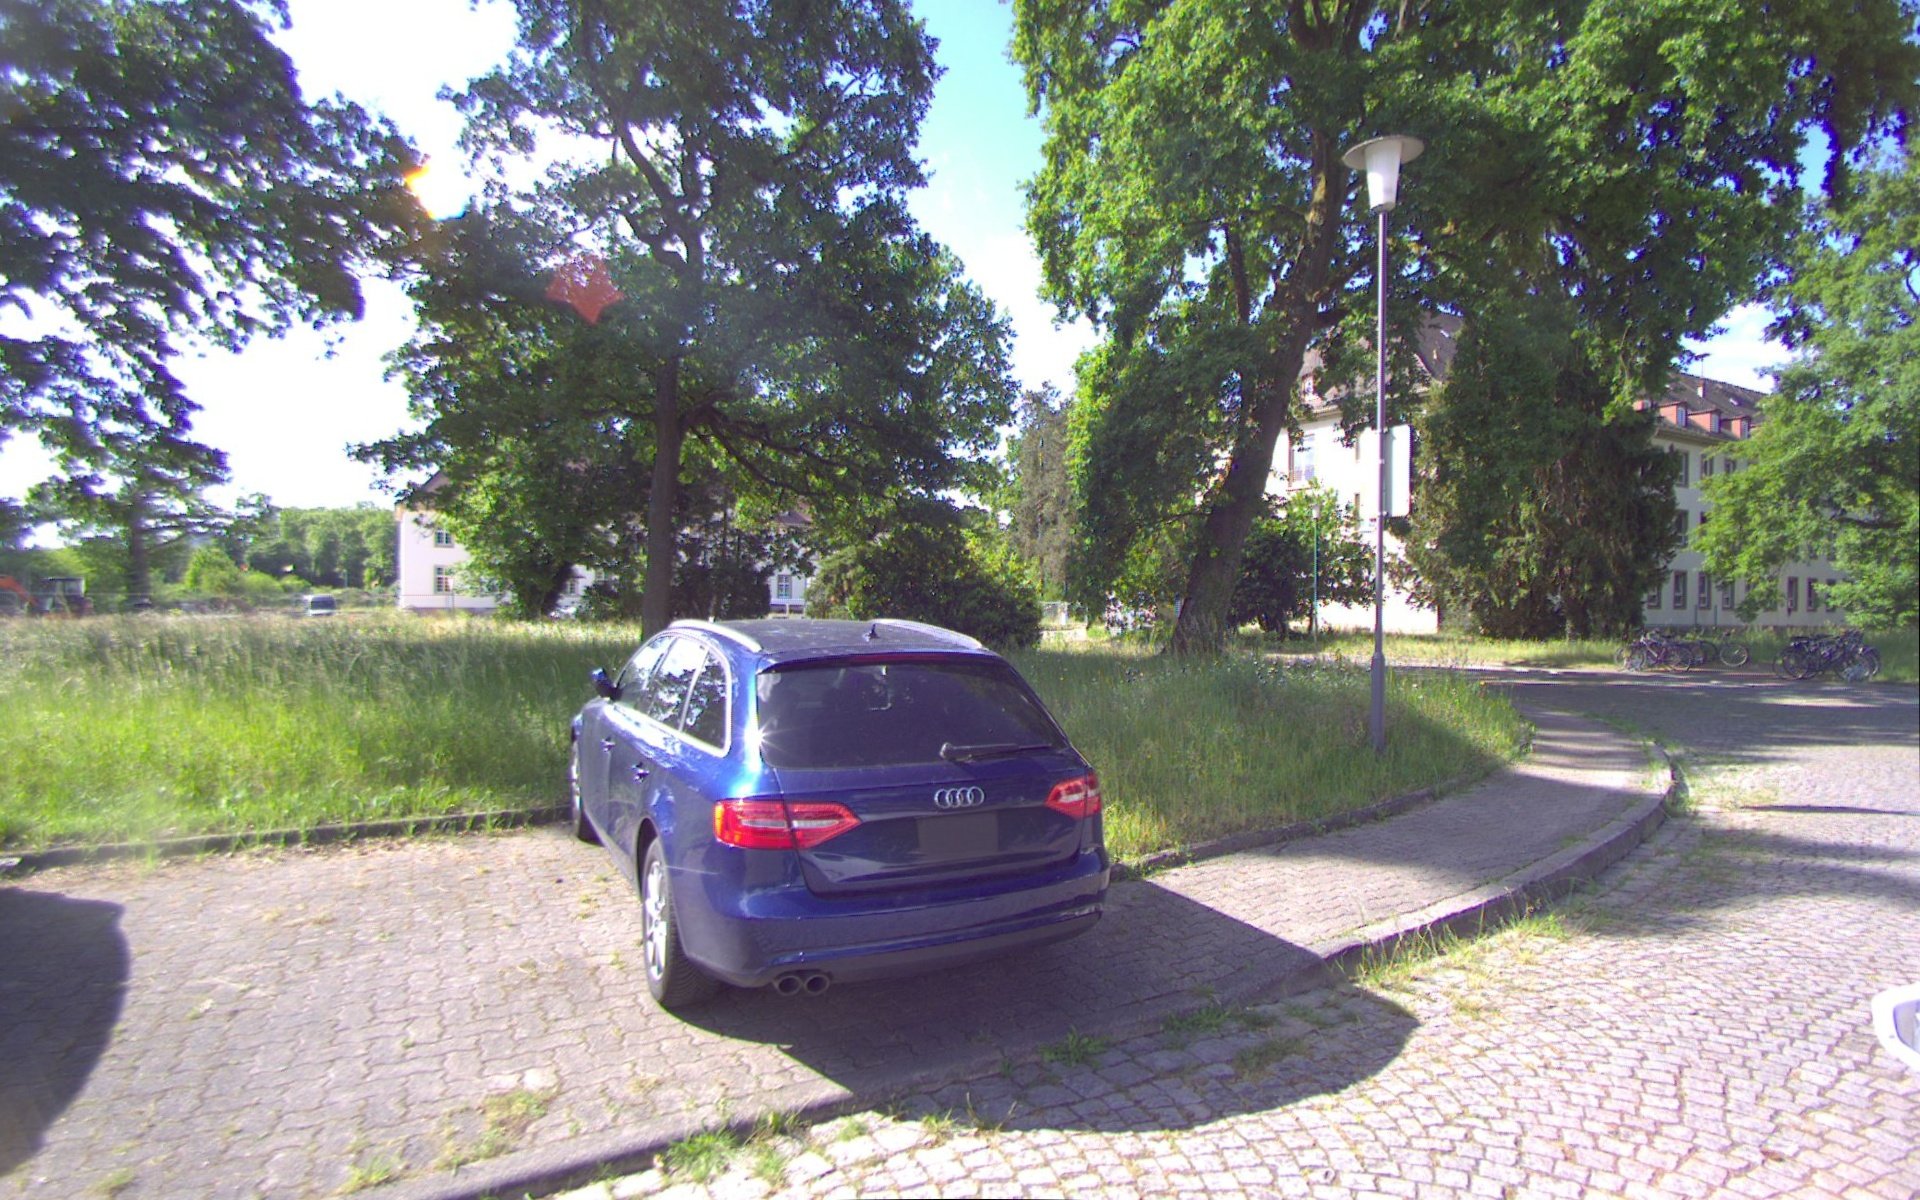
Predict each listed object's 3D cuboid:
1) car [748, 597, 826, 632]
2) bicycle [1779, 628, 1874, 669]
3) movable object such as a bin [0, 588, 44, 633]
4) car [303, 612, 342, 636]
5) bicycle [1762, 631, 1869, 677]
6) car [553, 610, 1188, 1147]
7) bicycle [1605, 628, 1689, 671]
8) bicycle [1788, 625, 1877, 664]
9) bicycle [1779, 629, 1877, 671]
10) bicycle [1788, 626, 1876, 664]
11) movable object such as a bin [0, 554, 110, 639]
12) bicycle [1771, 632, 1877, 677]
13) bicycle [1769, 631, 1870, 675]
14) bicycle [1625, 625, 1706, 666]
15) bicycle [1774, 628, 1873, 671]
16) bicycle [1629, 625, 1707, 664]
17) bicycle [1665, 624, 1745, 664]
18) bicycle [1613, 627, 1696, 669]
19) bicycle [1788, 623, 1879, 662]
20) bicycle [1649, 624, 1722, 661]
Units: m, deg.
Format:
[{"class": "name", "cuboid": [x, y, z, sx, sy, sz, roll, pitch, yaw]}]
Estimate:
[{"class": "car", "cuboid": [-12.353, 1.047, 71.847, 5.213, 2.469, 1.975, 1, -1, -29]}, {"class": "bicycle", "cuboid": [23.319, 1.303, 27.083, 1.891, 1.072, 0.474, -2, -2, 40]}, {"class": "movable object such as a bin", "cuboid": [-48.606, 0.517, 49.570, 5.565, 2.154, 2.529, 0, -1, 16]}, {"class": "car", "cuboid": [-50.447, 1.883, 79.514, 1.980, 1.879, 4.087, 1, -1, -42]}, {"class": "bicycle", "cuboid": [20.639, 1.314, 24.284, 1.886, 1.072, 0.475, -2, -2, 32]}, {"class": "car", "cuboid": [-0.953, 0.827, 5.273, 1.895, 1.464, 4.344, 0, 1, -26]}, {"class": "bicycle", "cuboid": [18.974, 1.342, 27.755, 1.888, 1.117, 0.568, -1, 1, 37]}, {"class": "bicycle", "cuboid": [24.905, 1.275, 28.710, 1.891, 1.072, 0.474, -2, -2, 40]}, {"class": "bicycle", "cuboid": [22.754, 1.319, 26.382, 1.889, 1.072, 0.474, -2, -2, 38]}, {"class": "bicycle", "cuboid": [25.201, 1.304, 29.070, 1.891, 1.072, 0.474, -2, -2, 40]}, {"class": "movable object such as a bin", "cuboid": [-44.017, -0.152, 46.253, 3.867, 3.780, 6.767, 0, -1, 36]}, {"class": "bicycle", "cuboid": [21.106, 1.328, 24.573, 1.886, 1.072, 0.475, -2, -2, 32]}, {"class": "bicycle", "cuboid": [21.741, 1.331, 25.450, 1.889, 1.072, 0.474, -2, -2, 38]}, {"class": "bicycle", "cuboid": [20.555, 1.312, 29.299, 1.886, 1.118, 0.569, 0, 1, 33]}, {"class": "bicycle", "cuboid": [22.168, 1.263, 25.828, 1.889, 1.072, 0.474, -2, -2, 38]}, {"class": "bicycle", "cuboid": [21.408, 1.332, 30.411, 1.886, 1.118, 0.569, 0, 1, 33]}, {"class": "bicycle", "cuboid": [22.592, 1.312, 30.482, 1.891, 1.118, 0.567, 1, 1, 42]}, {"class": "bicycle", "cuboid": [19.412, 1.328, 28.101, 1.888, 1.117, 0.568, -1, 1, 37]}, {"class": "bicycle", "cuboid": [24.594, 1.199, 28.319, 1.891, 1.072, 0.474, -2, -2, 40]}, {"class": "bicycle", "cuboid": [23.272, 1.341, 32.240, 1.889, 1.118, 0.568, 0, 1, 37]}]
